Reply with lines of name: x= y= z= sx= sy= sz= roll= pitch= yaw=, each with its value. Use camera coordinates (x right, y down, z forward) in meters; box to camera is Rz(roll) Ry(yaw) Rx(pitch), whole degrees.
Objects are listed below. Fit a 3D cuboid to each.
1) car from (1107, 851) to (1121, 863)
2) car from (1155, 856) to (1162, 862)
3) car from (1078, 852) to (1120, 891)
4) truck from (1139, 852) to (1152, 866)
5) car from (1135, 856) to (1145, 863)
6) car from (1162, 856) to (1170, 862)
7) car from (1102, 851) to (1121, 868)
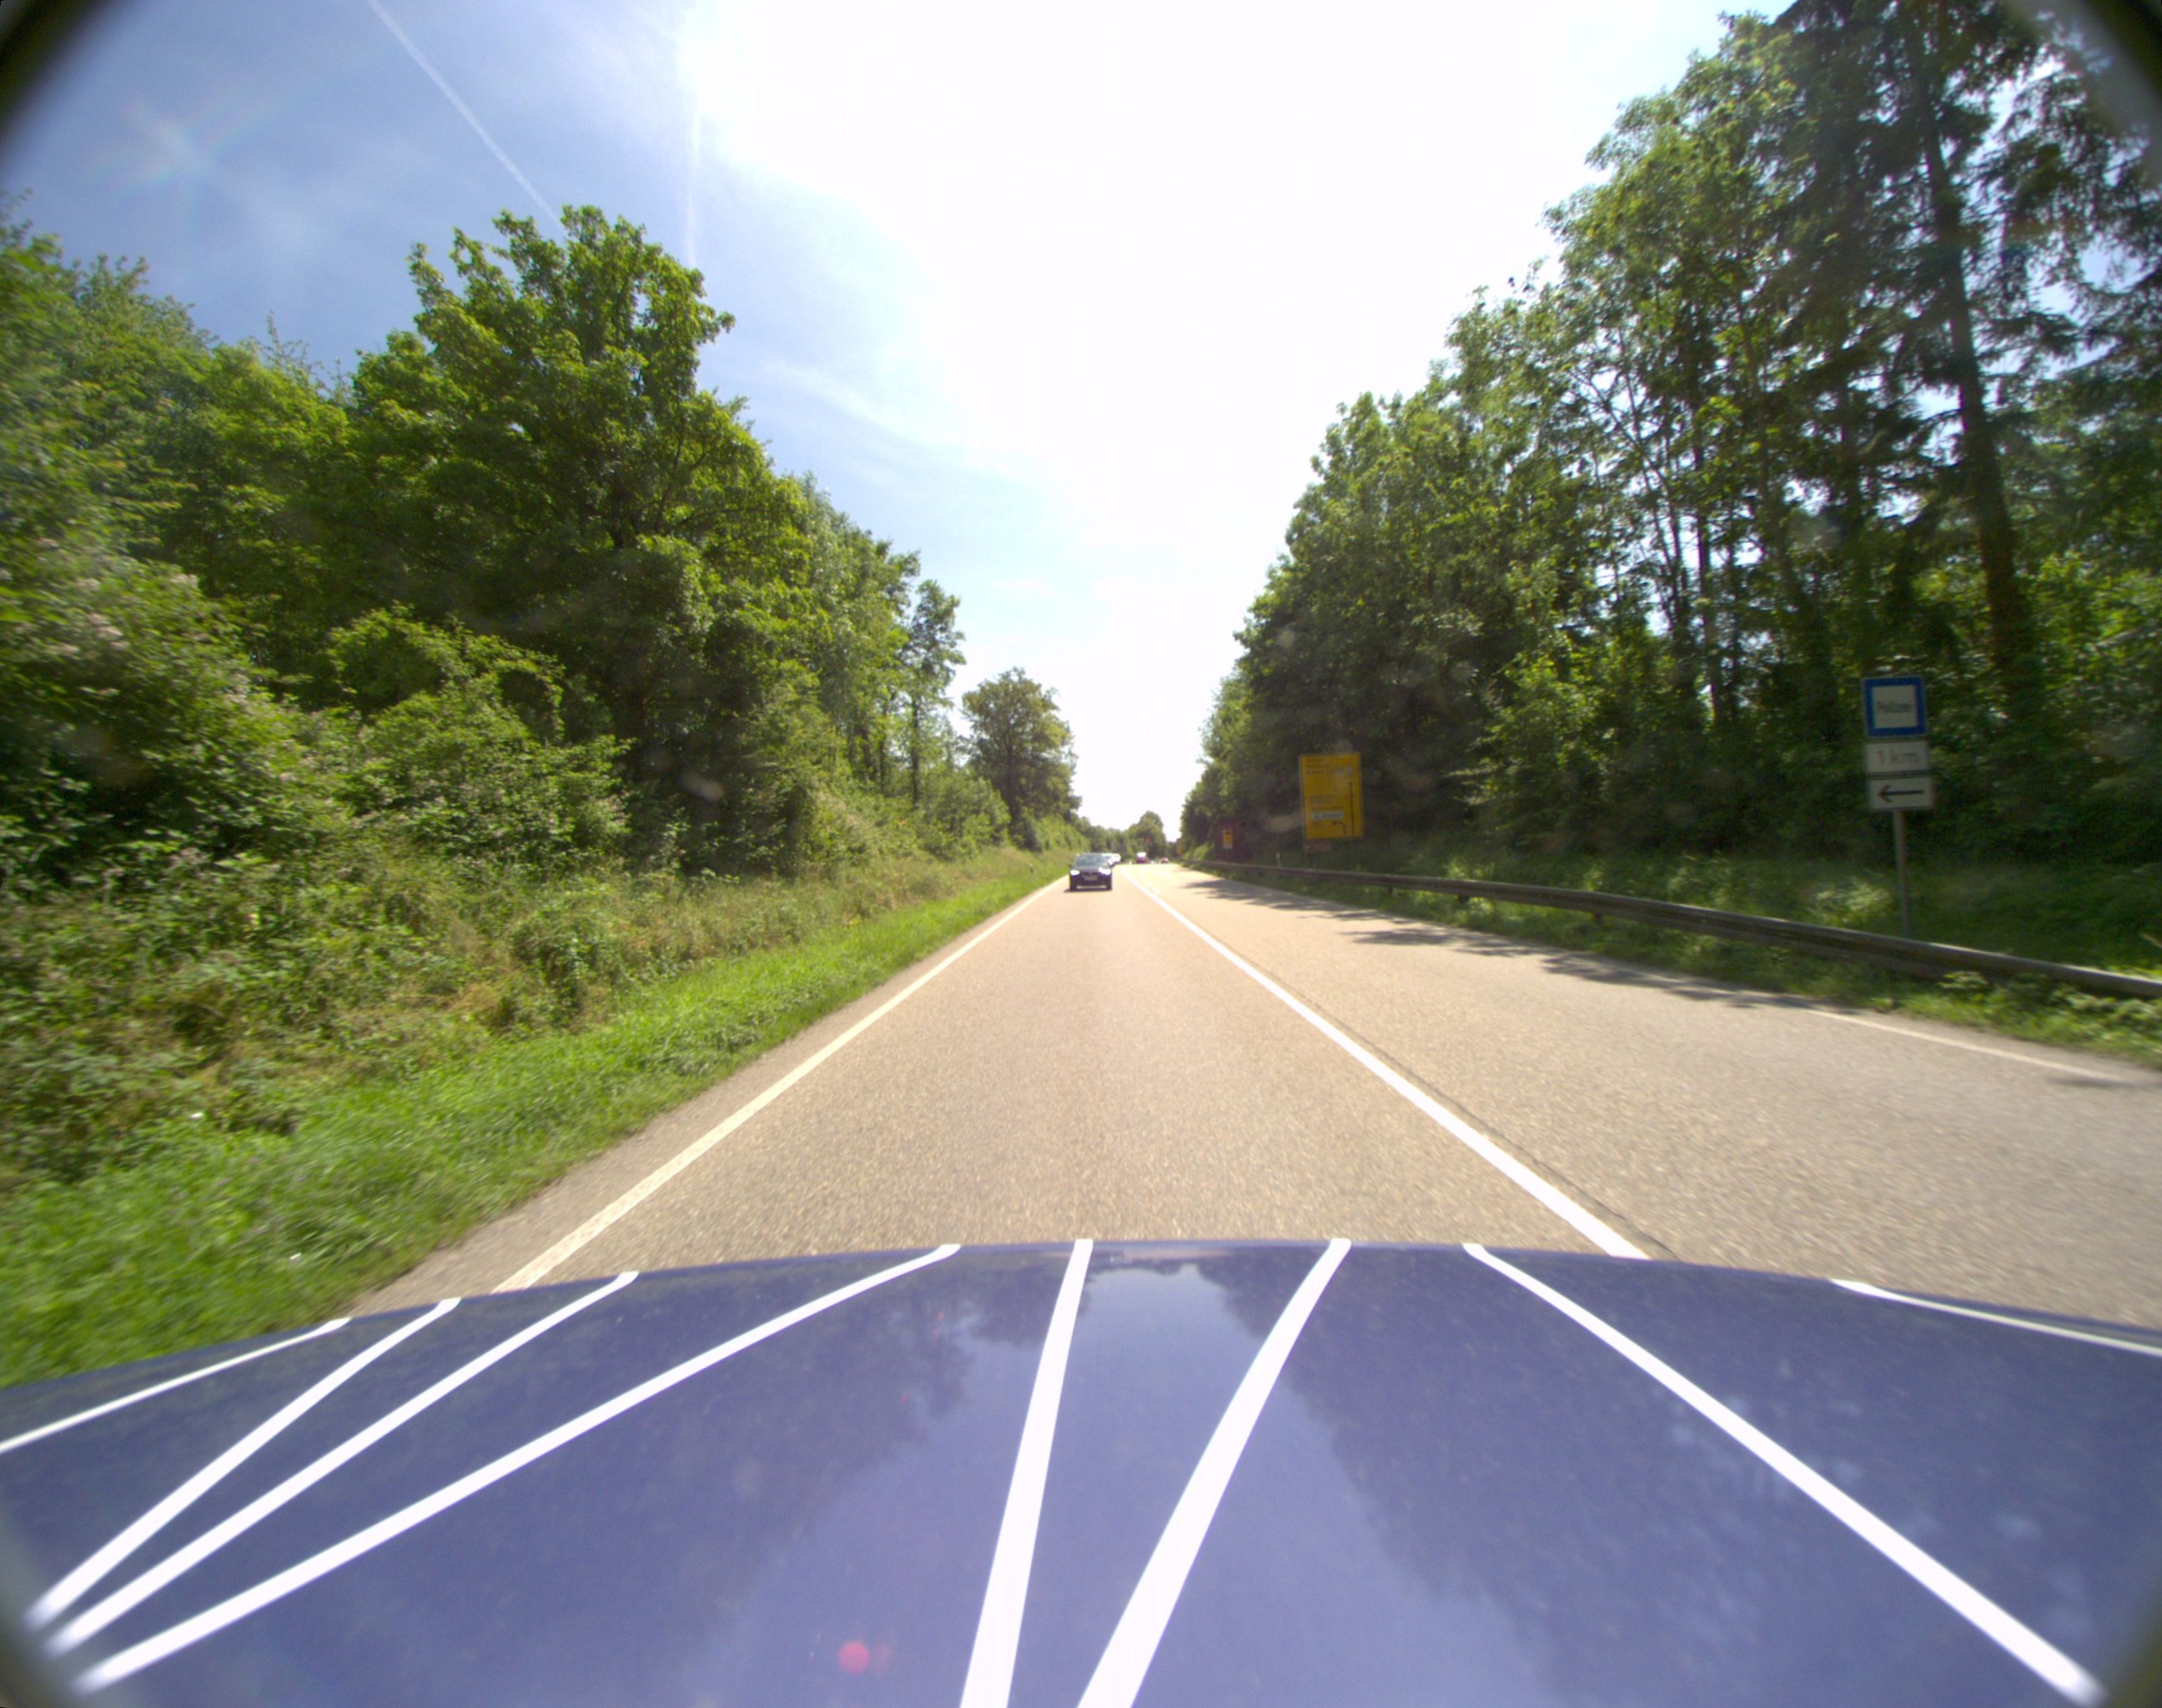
car: x=5.725 y=0.506 z=130.698 sx=1.998 sy=2.001 sz=4.002 roll=-4 pitch=-1 yaw=6
car: x=26.484 y=1.693 z=258.543 sx=1.997 sy=2.001 sz=4.004 roll=-4 pitch=-1 yaw=11
car: x=0.760 y=0.708 z=31.903 sx=1.626 sy=1.535 sz=4.001 roll=-1 pitch=0 yaw=1
truck: x=18.750 y=1.367 z=219.968 sx=2.838 sy=3.794 sz=8.457 roll=-3 pitch=0 yaw=10
car: x=12.122 y=1.168 z=155.246 sx=1.808 sy=1.444 sz=4.389 roll=-2 pitch=-1 yaw=7
car: x=20.368 y=1.114 z=182.345 sx=1.810 sy=1.427 sz=3.873 roll=-1 pitch=0 yaw=5
car: x=3.252 y=0.632 z=81.224 sx=1.770 sy=1.673 sz=4.001 roll=-4 pitch=-1 yaw=1
